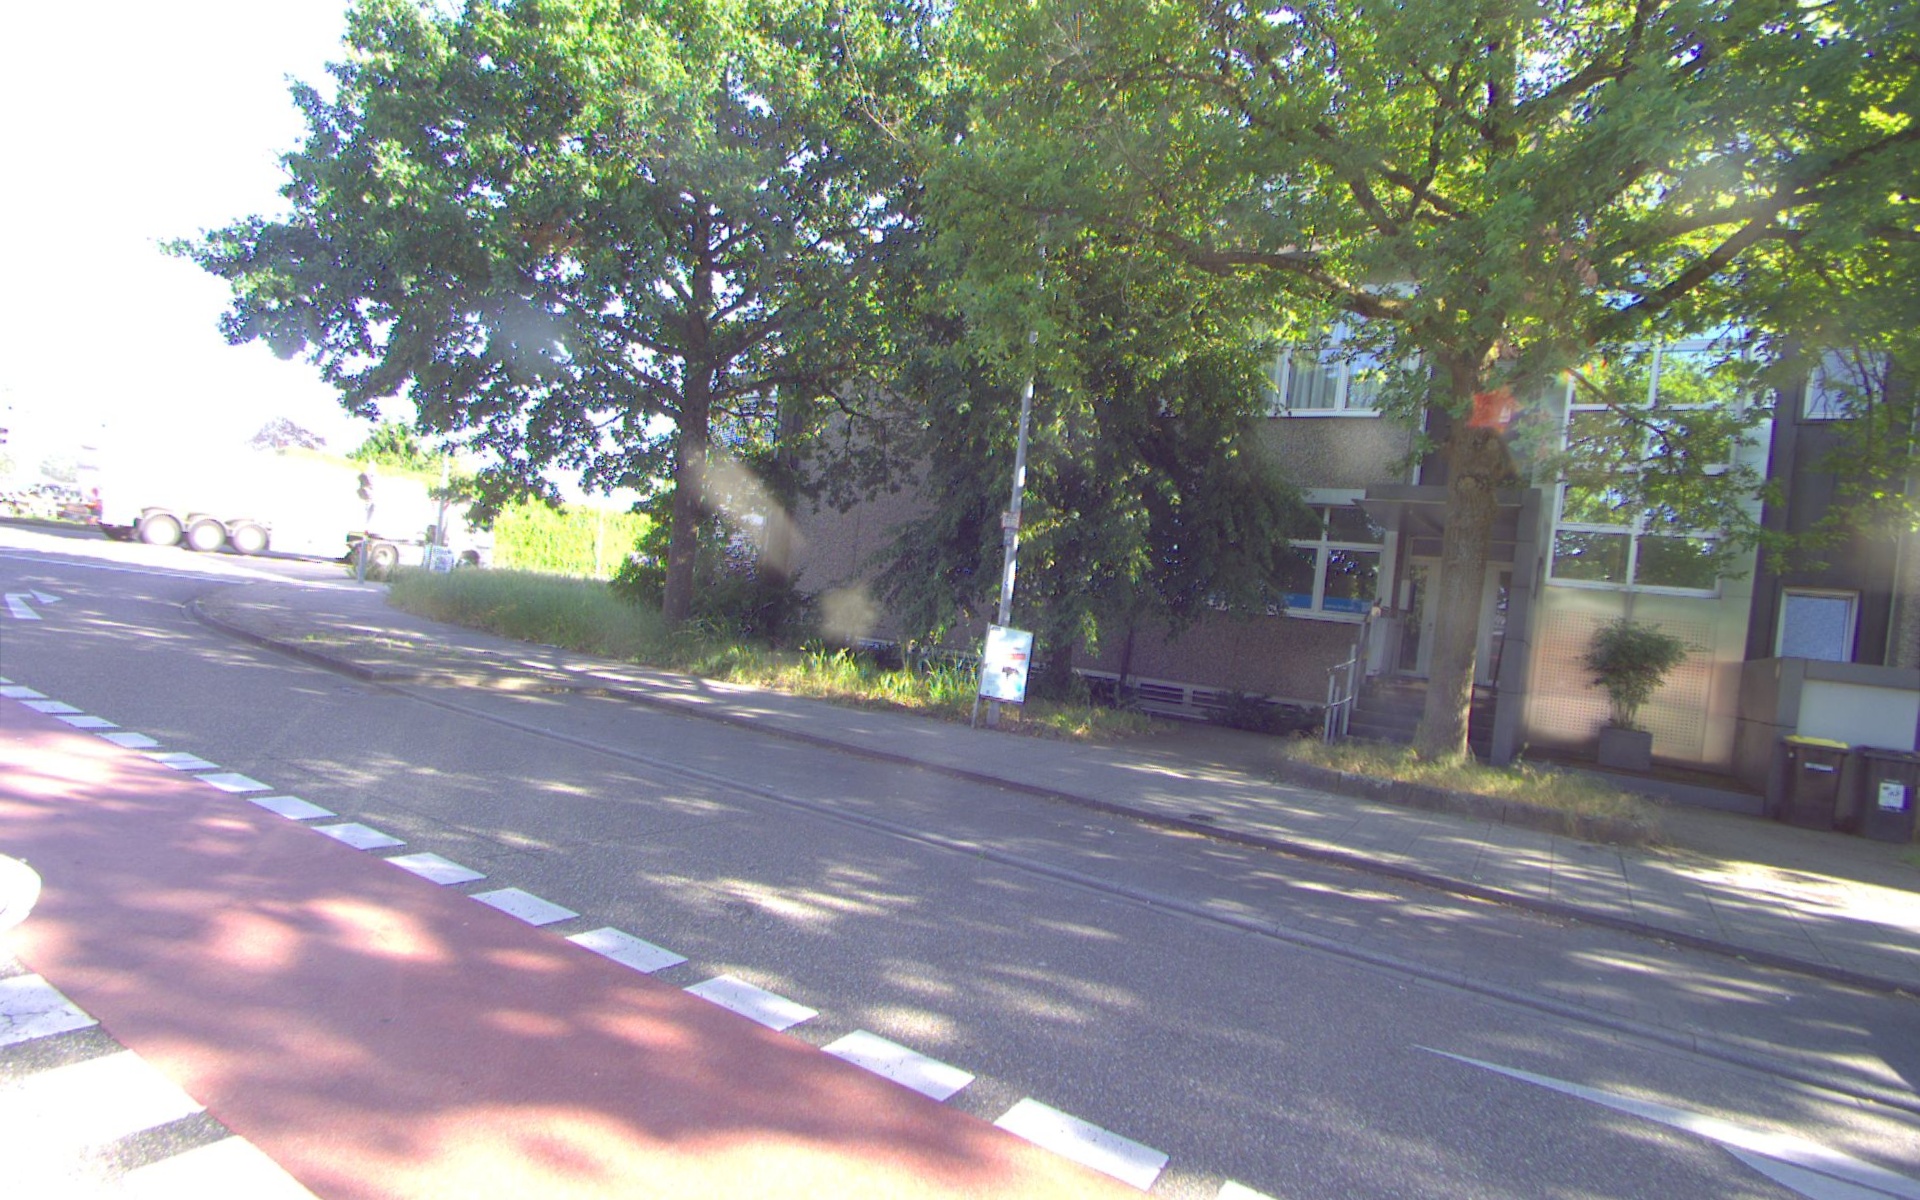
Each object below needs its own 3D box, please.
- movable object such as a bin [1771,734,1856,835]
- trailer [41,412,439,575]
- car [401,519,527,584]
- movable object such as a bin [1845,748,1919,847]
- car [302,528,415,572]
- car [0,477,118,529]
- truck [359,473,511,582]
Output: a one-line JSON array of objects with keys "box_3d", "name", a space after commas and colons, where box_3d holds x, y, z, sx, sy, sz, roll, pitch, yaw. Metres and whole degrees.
[{"box_3d": [10.179, 2.183, 12.019, 0.571, 1.045, 0.713, 7, 0, 31], "name": "movable object such as a bin"}, {"box_3d": [-24.475, -3.371, 35.479, 2.352, 3.740, 11.507, 7, -1, 25], "name": "trailer"}, {"box_3d": [-13.831, -1.312, 28.244, 1.433, 1.311, 3.412, 7, -2, 7], "name": "car"}, {"box_3d": [10.810, 2.284, 11.722, 0.566, 1.019, 0.629, 6, -1, 31], "name": "movable object such as a bin"}, {"box_3d": [-25.266, -2.064, 42.406, 1.480, 1.328, 3.858, 6, -1, 23], "name": "car"}, {"box_3d": [-33.839, -3.604, 36.908, 1.548, 1.317, 4.170, 6, -2, 28], "name": "car"}, {"box_3d": [-21.624, -2.919, 41.678, 2.367, 3.740, 4.814, 7, 0, 24], "name": "truck"}]
